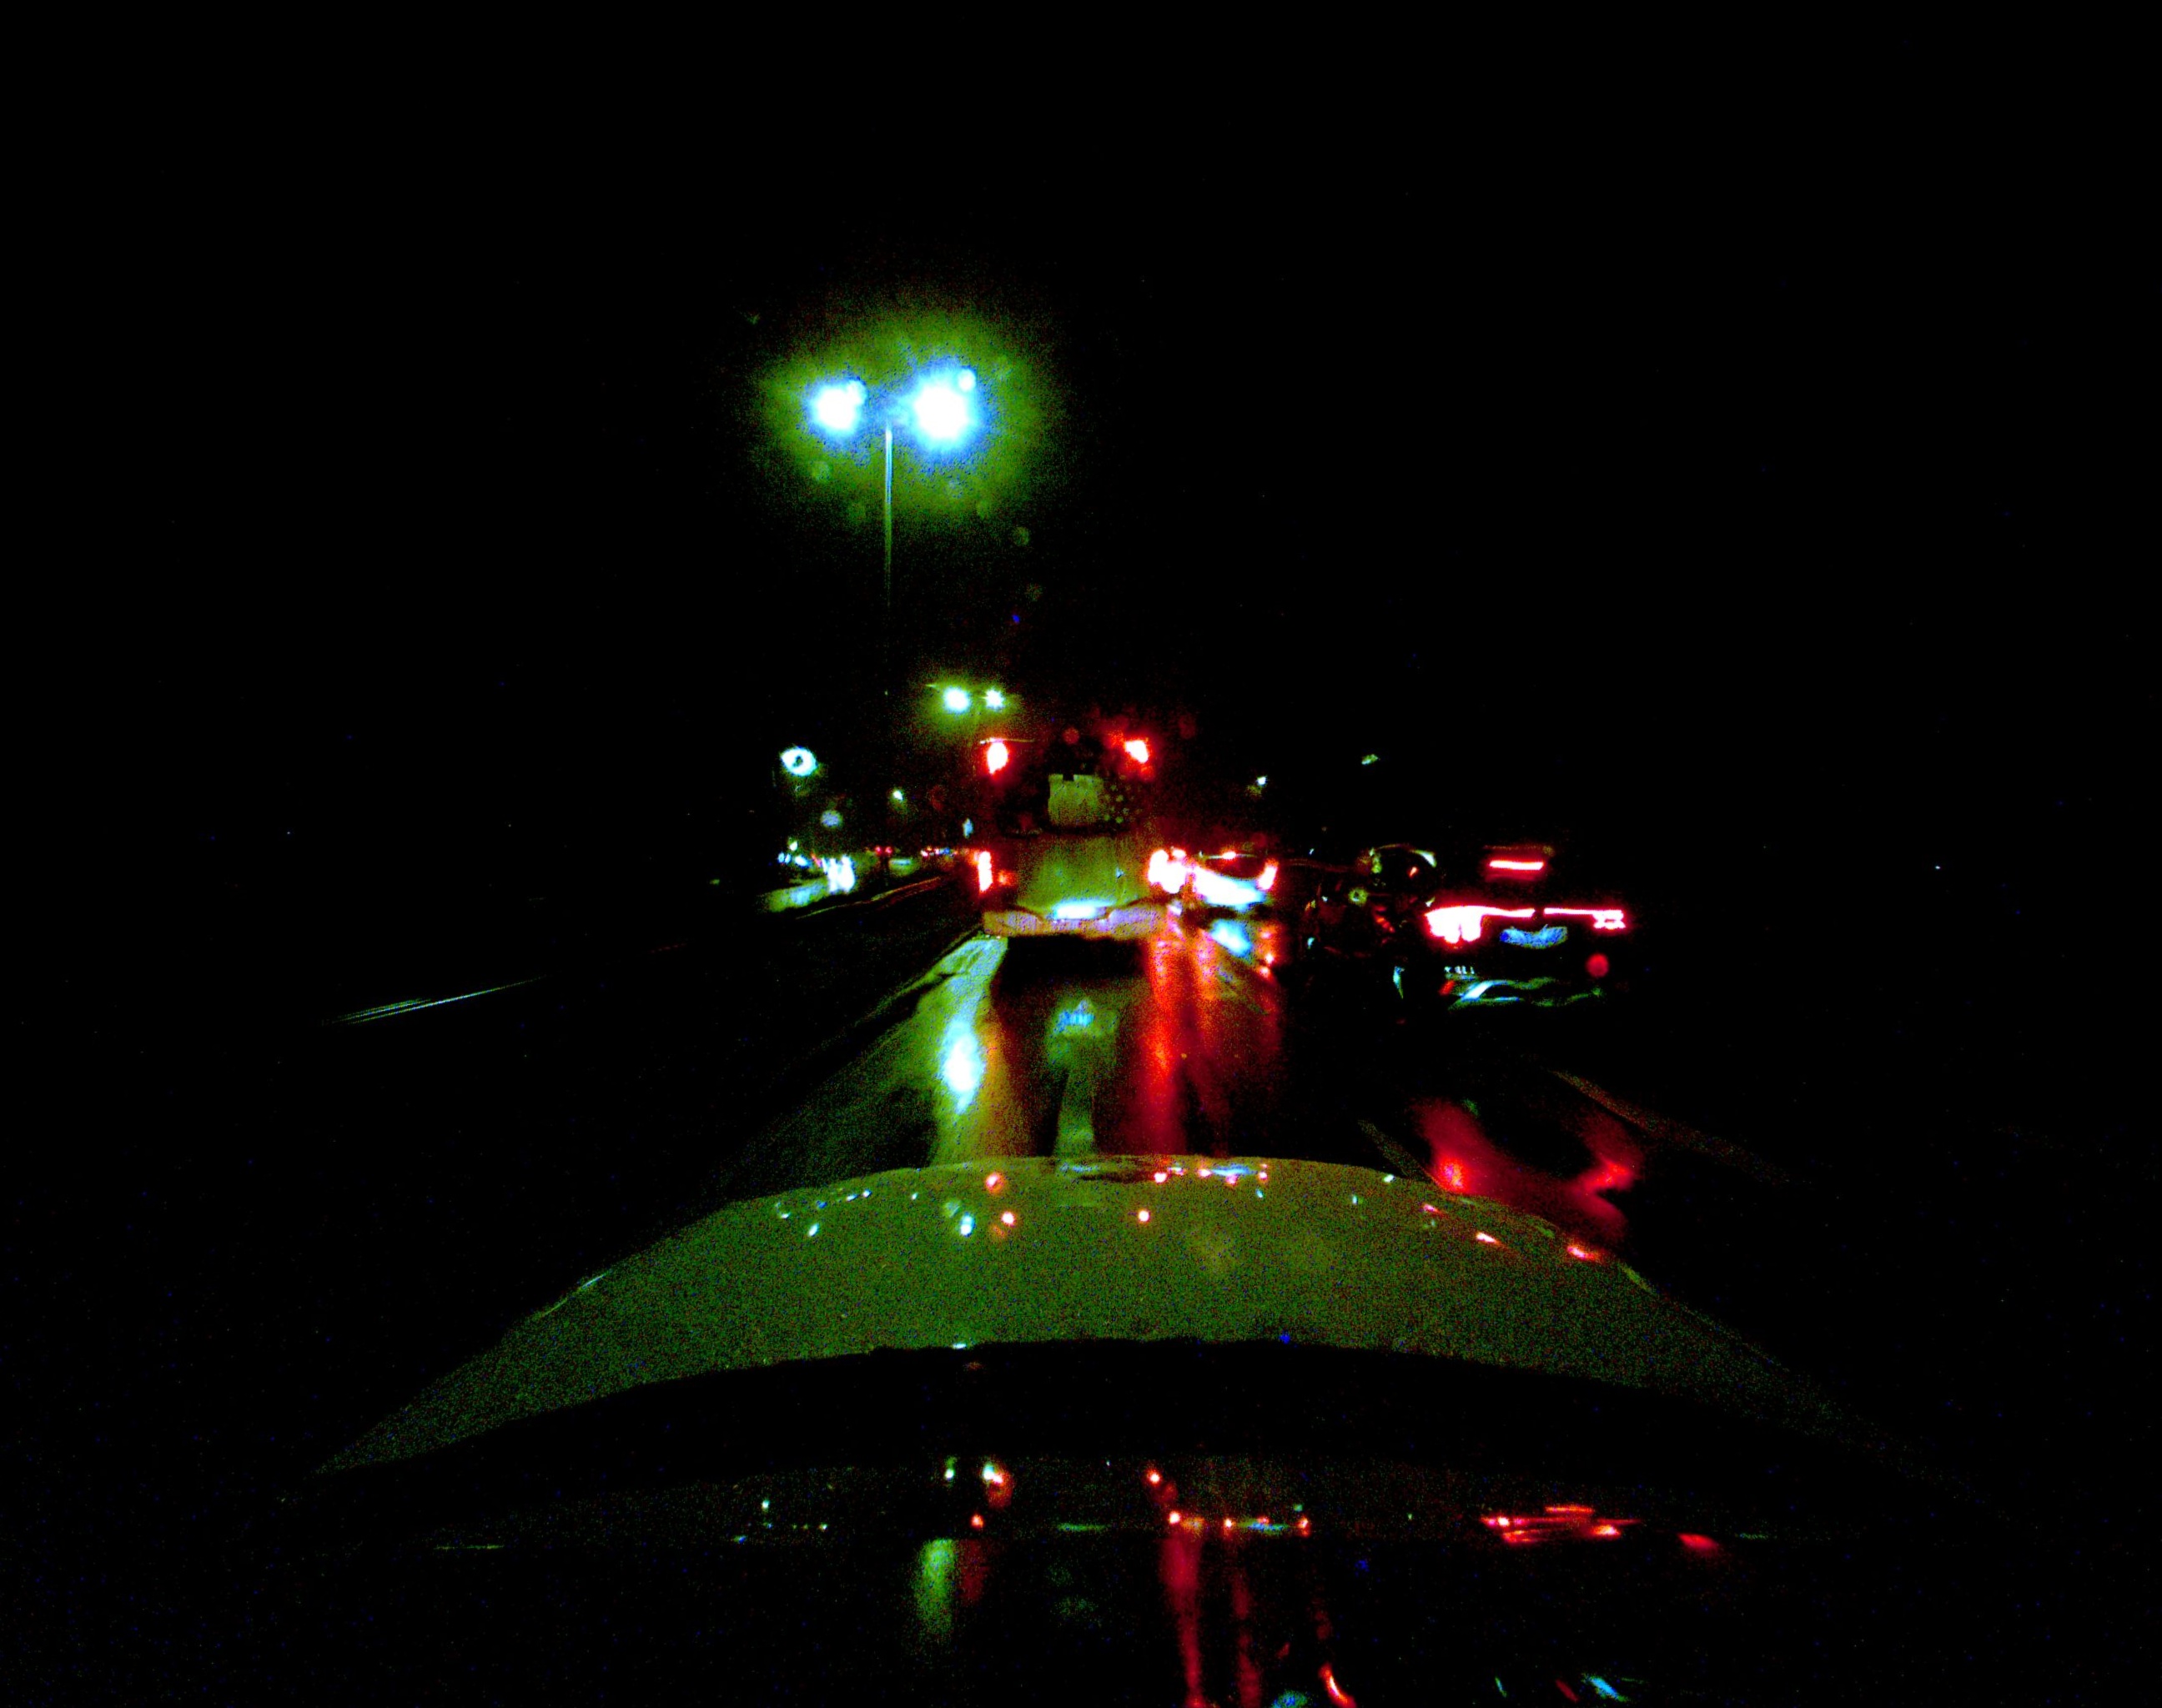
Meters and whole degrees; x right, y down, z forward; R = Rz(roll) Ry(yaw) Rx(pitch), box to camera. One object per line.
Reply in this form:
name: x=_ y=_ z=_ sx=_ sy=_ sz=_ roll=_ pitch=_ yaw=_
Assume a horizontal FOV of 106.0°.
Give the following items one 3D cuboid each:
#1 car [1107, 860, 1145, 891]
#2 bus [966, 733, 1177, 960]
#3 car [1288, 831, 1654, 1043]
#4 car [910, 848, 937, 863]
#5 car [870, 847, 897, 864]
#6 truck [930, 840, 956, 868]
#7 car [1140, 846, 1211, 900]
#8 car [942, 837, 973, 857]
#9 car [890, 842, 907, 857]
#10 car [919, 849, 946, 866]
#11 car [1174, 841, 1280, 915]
car: x=2.298 y=1.073 z=42.433 sx=1.773 sy=1.543 sz=3.875 roll=0 pitch=0 yaw=0
bus: x=-0.079 y=-0.096 z=15.209 sx=2.806 sy=3.024 sz=8.687 roll=0 pitch=0 yaw=1
car: x=3.385 y=0.619 z=7.939 sx=1.734 sy=1.565 sz=3.775 roll=0 pitch=0 yaw=-1
car: x=-17.622 y=0.224 z=91.016 sx=1.763 sy=1.631 sz=3.586 roll=1 pitch=-1 yaw=-32
car: x=-24.974 y=0.230 z=102.757 sx=2.226 sy=2.013 sz=3.960 roll=-1 pitch=0 yaw=-32
truck: x=-13.398 y=-0.033 z=78.818 sx=1.861 sy=2.392 sz=4.751 roll=-2 pitch=3 yaw=-17
car: x=2.986 y=0.585 z=26.439 sx=1.814 sy=1.590 sz=3.775 roll=-1 pitch=0 yaw=-1
car: x=-12.692 y=-0.674 z=83.375 sx=2.004 sy=2.014 sz=3.965 roll=1 pitch=-1 yaw=-27
car: x=-24.920 y=-0.559 z=111.262 sx=2.122 sy=2.014 sz=3.985 roll=1 pitch=-1 yaw=-11
car: x=-17.670 y=0.421 z=96.846 sx=2.006 sy=2.013 sz=3.961 roll=-1 pitch=0 yaw=-30
car: x=3.437 y=0.523 z=19.813 sx=1.814 sy=1.590 sz=3.775 roll=-1 pitch=0 yaw=-1
